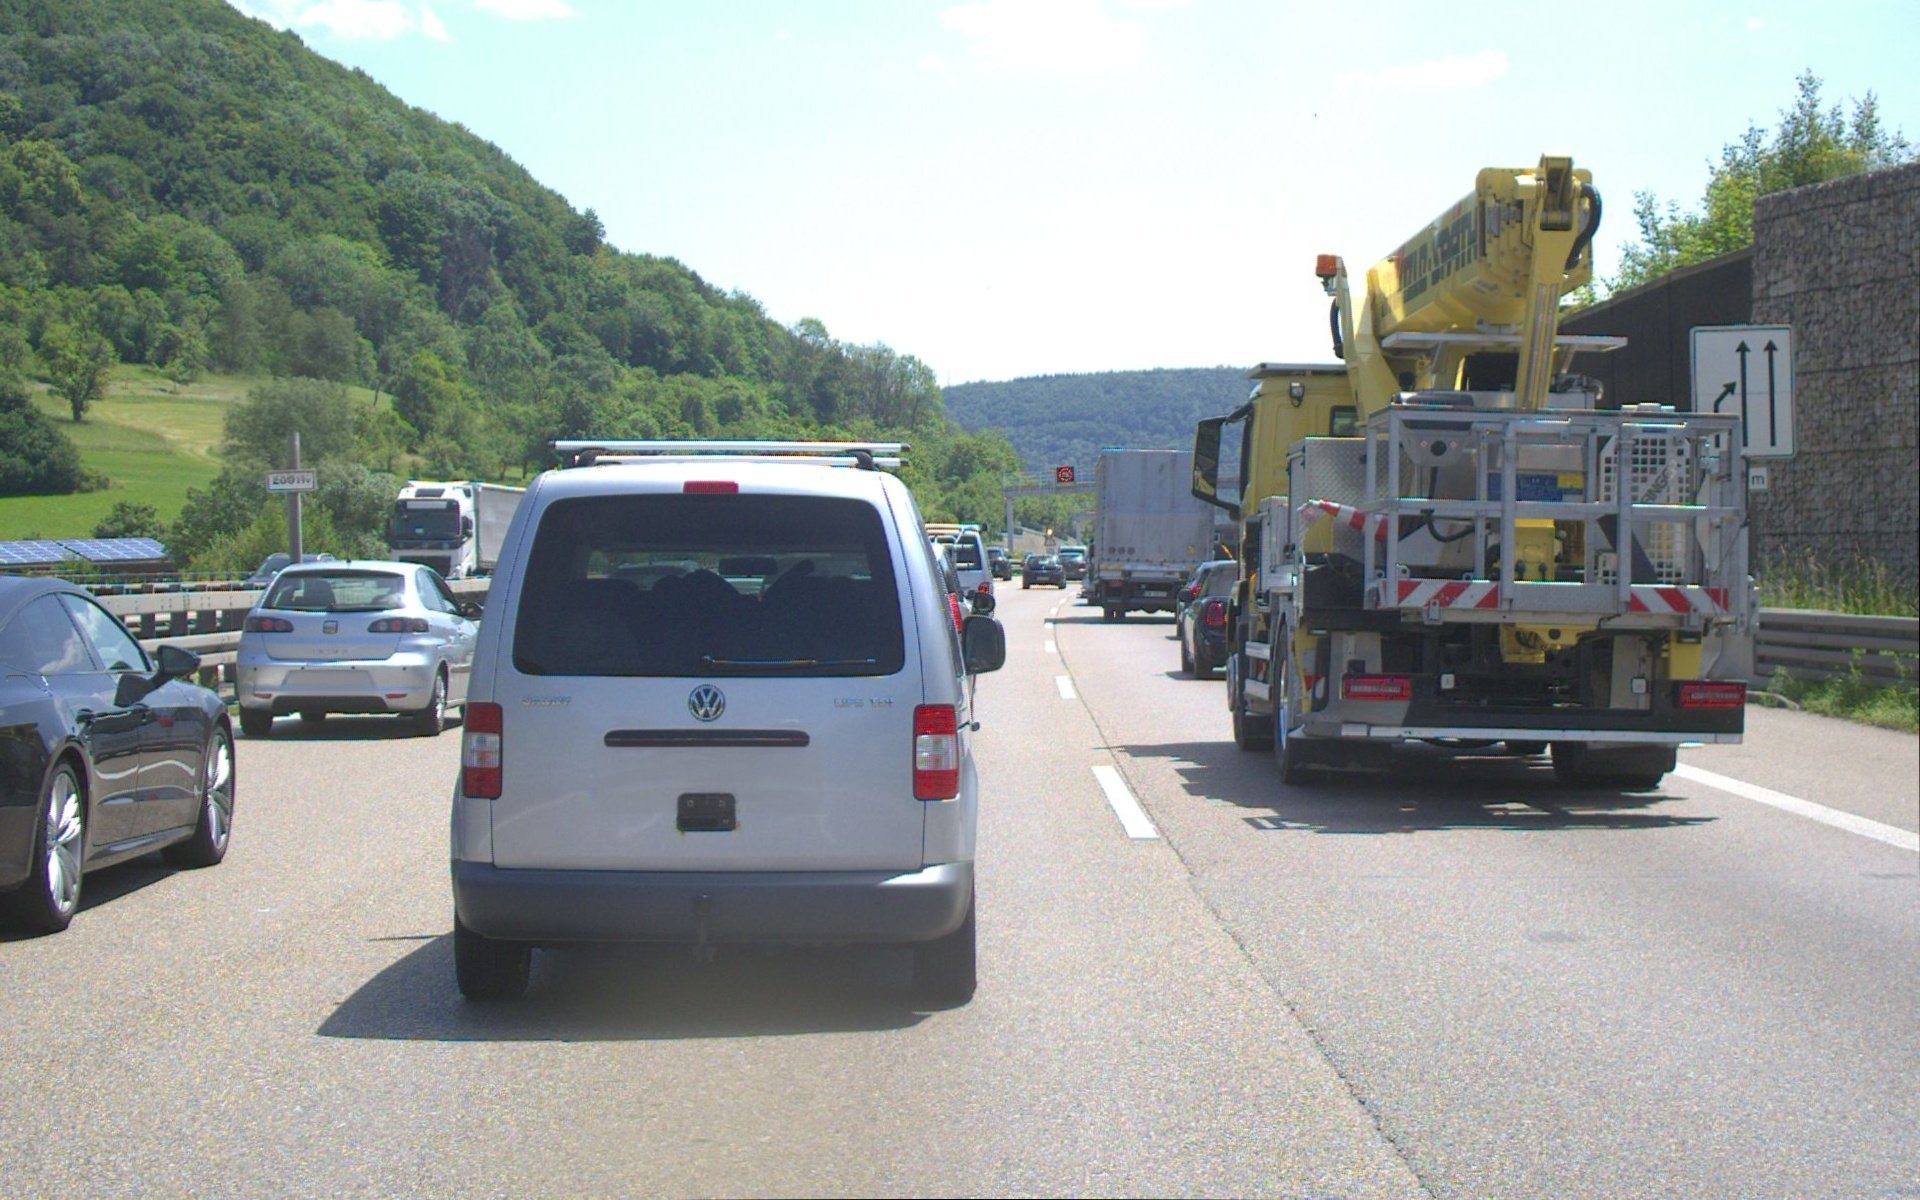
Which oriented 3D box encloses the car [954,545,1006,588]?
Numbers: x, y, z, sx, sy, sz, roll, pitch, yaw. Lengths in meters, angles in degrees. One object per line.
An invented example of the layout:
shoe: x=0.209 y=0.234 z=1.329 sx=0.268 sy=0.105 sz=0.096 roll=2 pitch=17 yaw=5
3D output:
car: x=0.861 y=-1.461 z=151.099 sx=2.114 sy=1.821 sz=4.000 roll=1 pitch=0 yaw=-2

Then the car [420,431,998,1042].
car: x=-0.828 y=0.386 z=12.496 sx=1.756 sy=1.861 sz=4.000 roll=0 pitch=1 yaw=-2

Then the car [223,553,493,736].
car: x=-5.007 y=0.324 z=29.040 sx=1.695 sy=1.440 sz=3.862 roll=0 pitch=1 yaw=-1

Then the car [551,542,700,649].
car: x=-4.906 y=-0.090 z=50.884 sx=1.924 sy=1.494 sz=4.000 roll=1 pitch=1 yaw=-2

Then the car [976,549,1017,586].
car: x=1.824 y=-1.614 z=173.092 sx=1.993 sy=1.799 sz=4.000 roll=1 pitch=0 yaw=-1

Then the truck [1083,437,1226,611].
truck: x=4.464 y=-1.706 z=80.369 sx=2.940 sy=3.810 sz=8.236 roll=1 pitch=0 yaw=1

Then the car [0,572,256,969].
car: x=-4.377 y=0.590 z=14.717 sx=1.800 sy=1.385 sz=4.970 roll=0 pitch=1 yaw=-1

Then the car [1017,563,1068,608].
car: x=3.326 y=-0.597 z=139.018 sx=1.993 sy=1.743 sz=4.000 roll=1 pitch=0 yaw=1

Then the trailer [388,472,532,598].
trailer: x=-17.584 y=-2.214 z=121.778 sx=2.855 sy=4.177 sz=13.615 roll=1 pitch=0 yaw=1

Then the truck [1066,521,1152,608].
truck: x=4.501 y=-1.072 z=102.745 sx=2.390 sy=2.532 sz=5.939 roll=0 pitch=1 yaw=4

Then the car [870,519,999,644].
car: x=-0.451 y=-0.317 z=56.045 sx=1.993 sy=1.969 sz=4.000 roll=0 pitch=1 yaw=-2

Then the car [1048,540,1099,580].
car: x=5.296 y=-1.870 z=161.163 sx=2.114 sy=1.821 sz=4.000 roll=1 pitch=0 yaw=-2

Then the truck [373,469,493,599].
truck: x=-17.707 y=-2.186 z=115.911 sx=2.798 sy=4.217 sz=7.231 roll=1 pitch=0 yaw=1

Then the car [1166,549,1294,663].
car: x=4.900 y=0.076 z=62.844 sx=1.993 sy=2.007 sz=4.000 roll=0 pitch=1 yaw=0

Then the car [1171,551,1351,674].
car: x=3.701 y=0.122 z=42.789 sx=1.786 sy=1.453 sz=3.771 roll=0 pitch=1 yaw=-2

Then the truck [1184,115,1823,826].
truck: x=3.303 y=-0.782 z=23.416 sx=2.703 sy=3.929 sz=8.722 roll=0 pitch=1 yaw=-2

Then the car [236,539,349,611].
car: x=-15.313 y=-0.586 z=79.053 sx=1.849 sy=1.604 sz=4.079 roll=0 pitch=1 yaw=0
